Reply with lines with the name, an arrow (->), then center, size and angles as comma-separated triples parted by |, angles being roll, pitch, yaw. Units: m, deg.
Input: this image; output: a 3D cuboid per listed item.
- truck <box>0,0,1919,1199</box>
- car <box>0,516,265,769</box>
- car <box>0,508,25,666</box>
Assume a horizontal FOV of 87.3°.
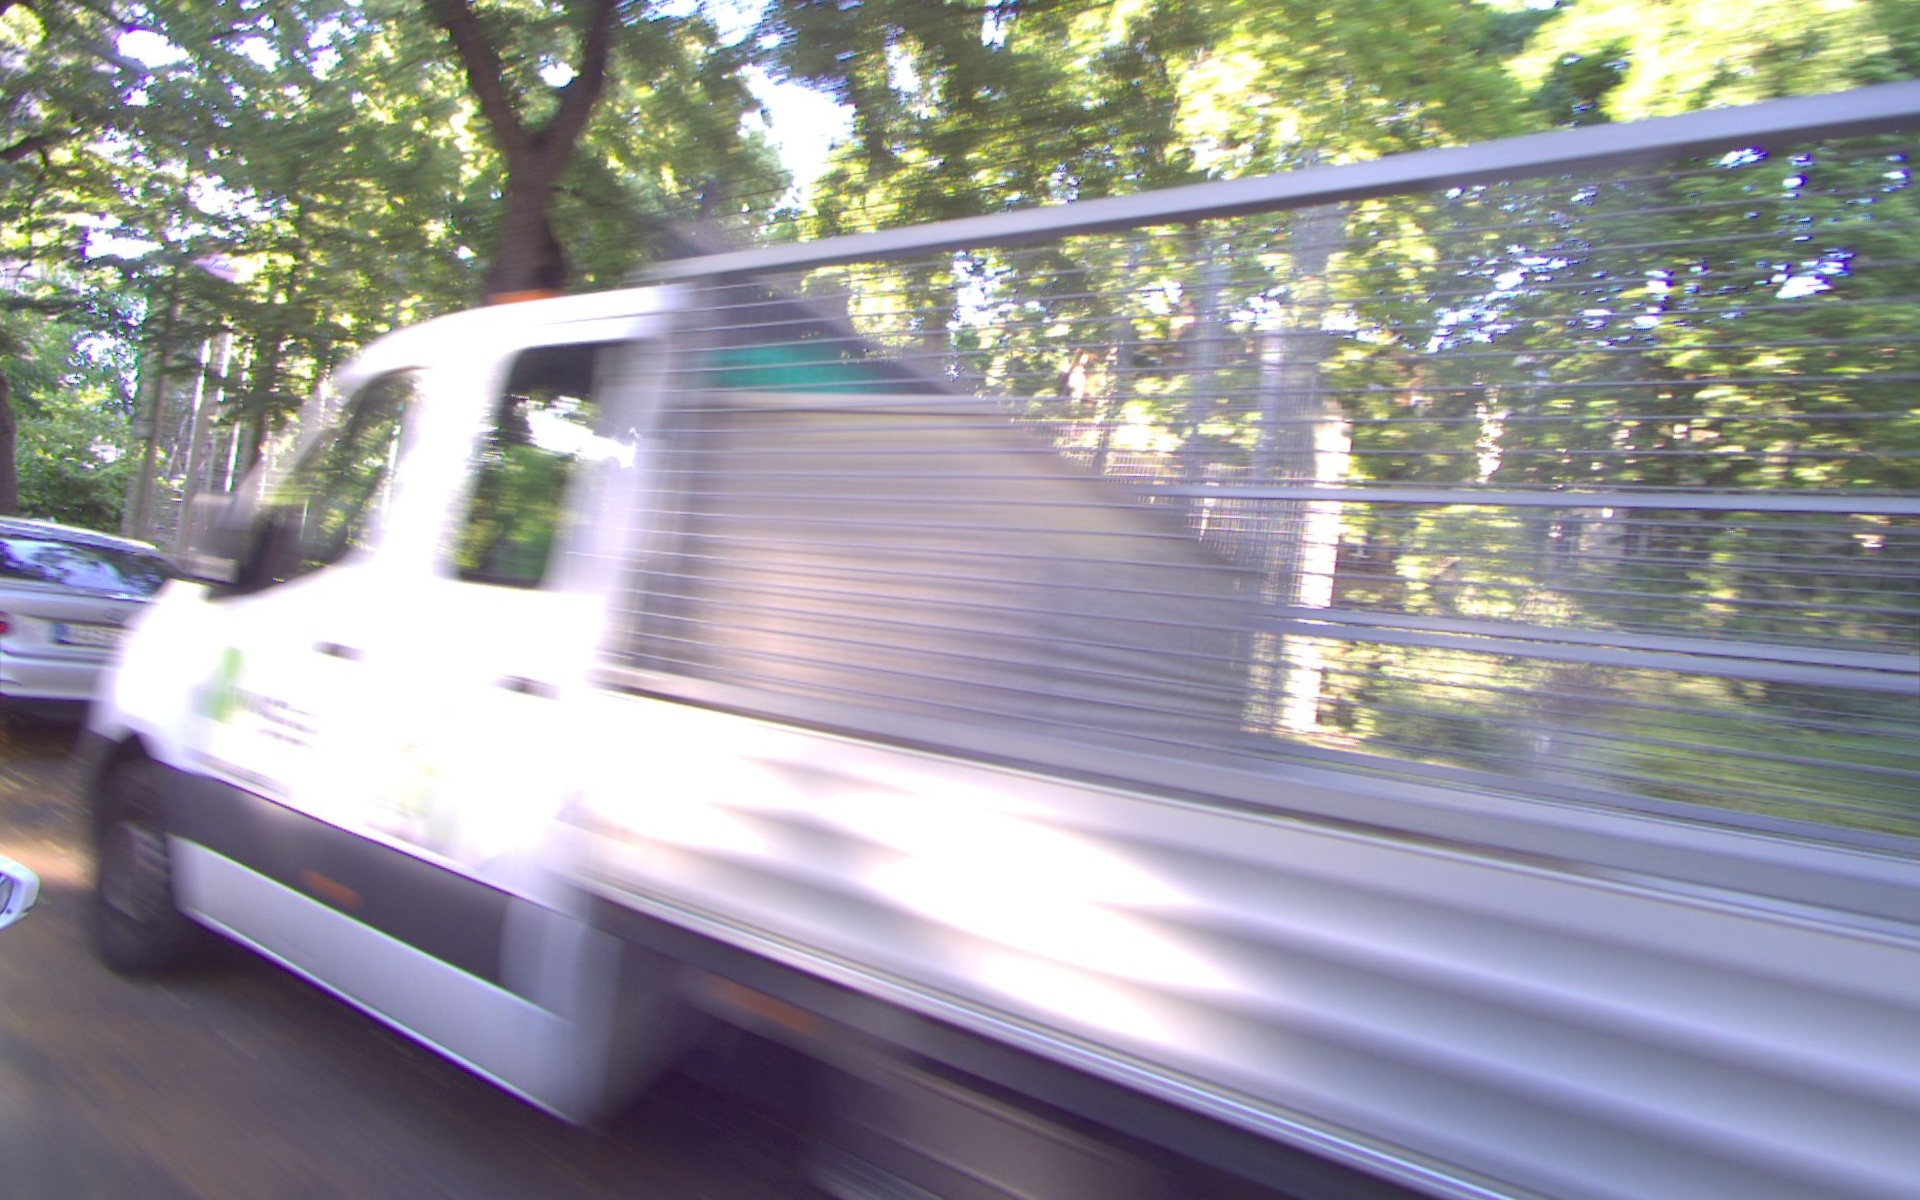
truck -> -0.101, 0.428, 3.009 | 6.820, 2.413, 2.300 | 6, -2, 32
car -> -6.921, 0.109, 7.181 | 4.230, 1.412, 1.676 | 6, -4, 34
car -> -10.937, -0.382, 9.799 | 3.885, 1.470, 1.675 | 6, -2, 33
